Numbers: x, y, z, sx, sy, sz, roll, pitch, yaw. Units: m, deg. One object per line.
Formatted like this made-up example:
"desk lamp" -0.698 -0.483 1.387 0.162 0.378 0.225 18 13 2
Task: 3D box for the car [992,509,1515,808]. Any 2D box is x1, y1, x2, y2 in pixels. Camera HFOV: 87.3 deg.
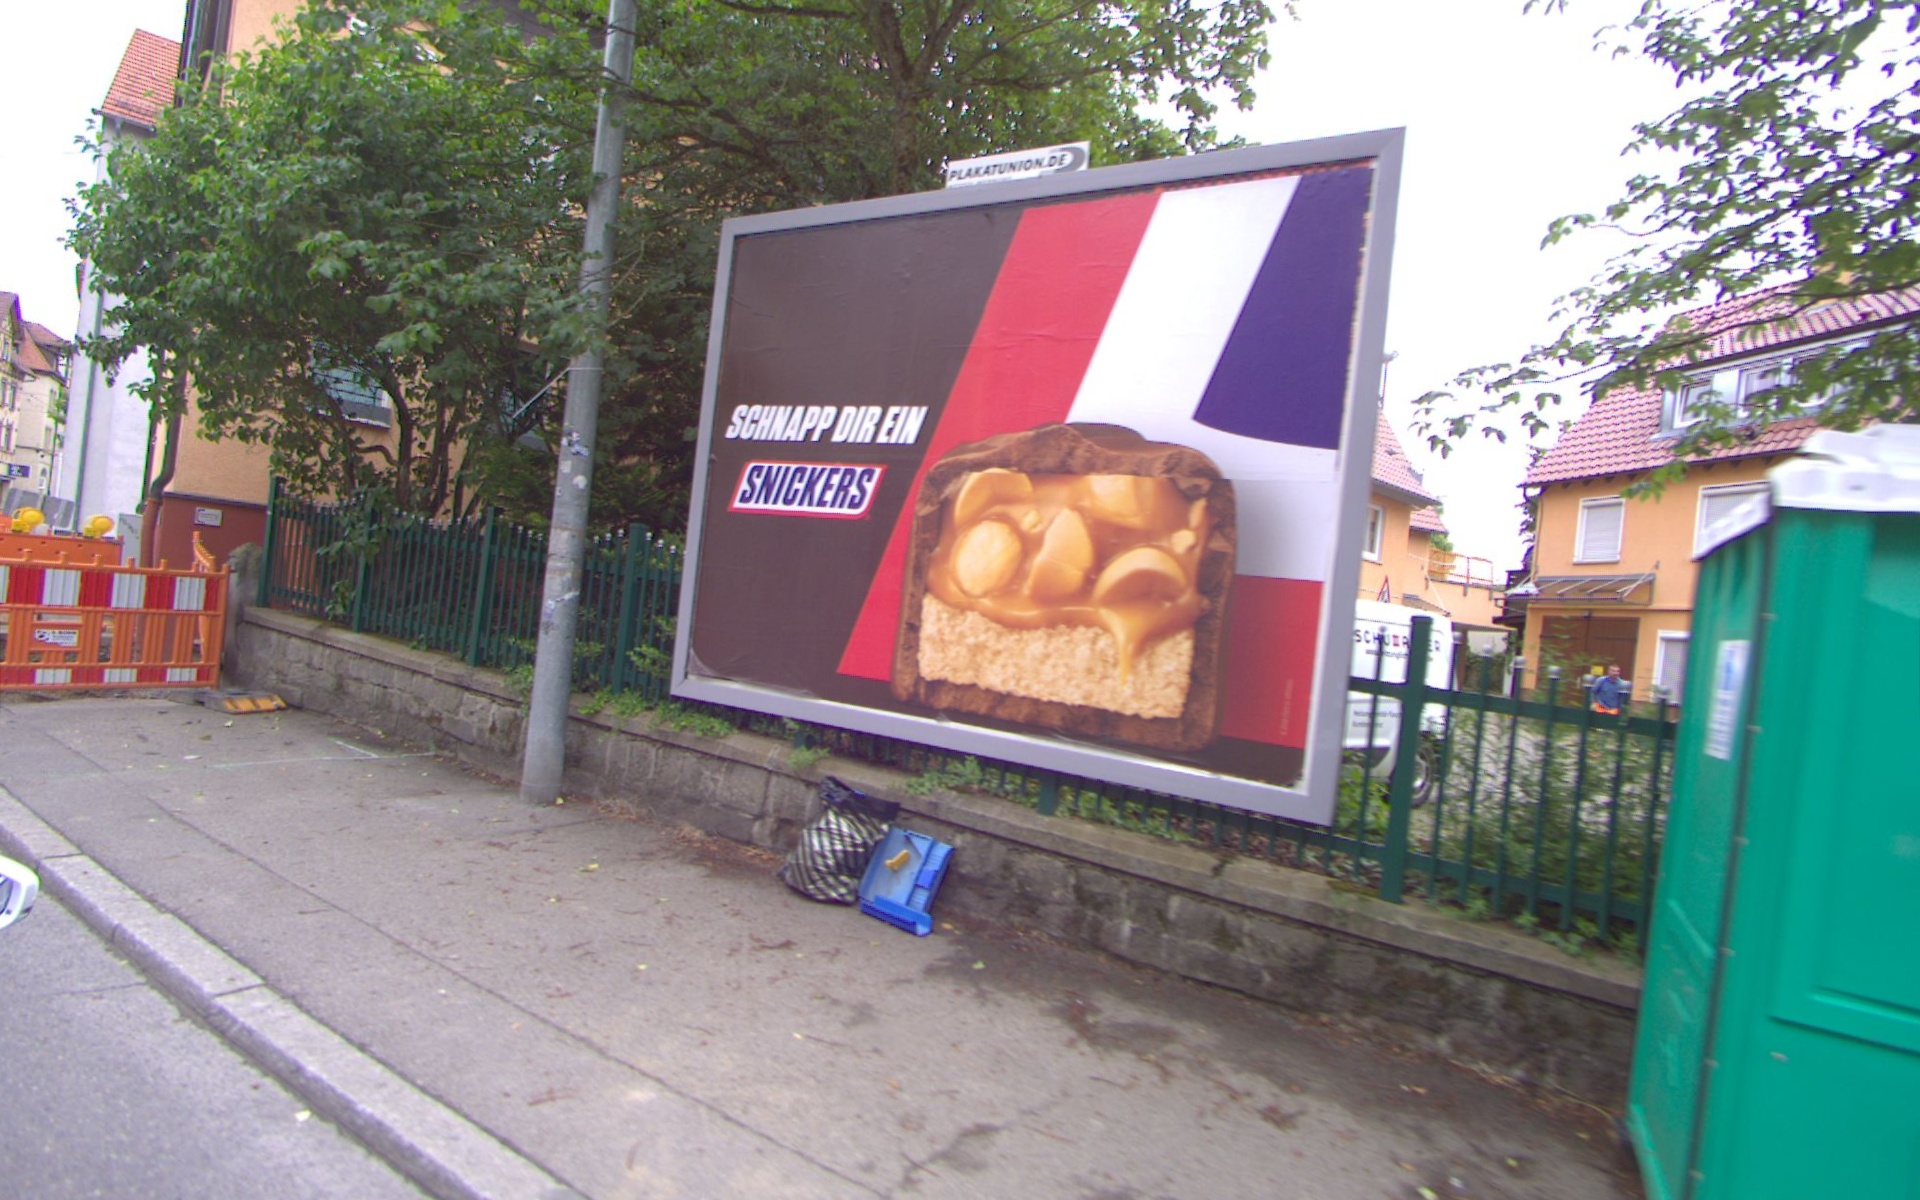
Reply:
"car" 2.657 0.582 8.881 4.184 2.058 1.983 7 0 -32
